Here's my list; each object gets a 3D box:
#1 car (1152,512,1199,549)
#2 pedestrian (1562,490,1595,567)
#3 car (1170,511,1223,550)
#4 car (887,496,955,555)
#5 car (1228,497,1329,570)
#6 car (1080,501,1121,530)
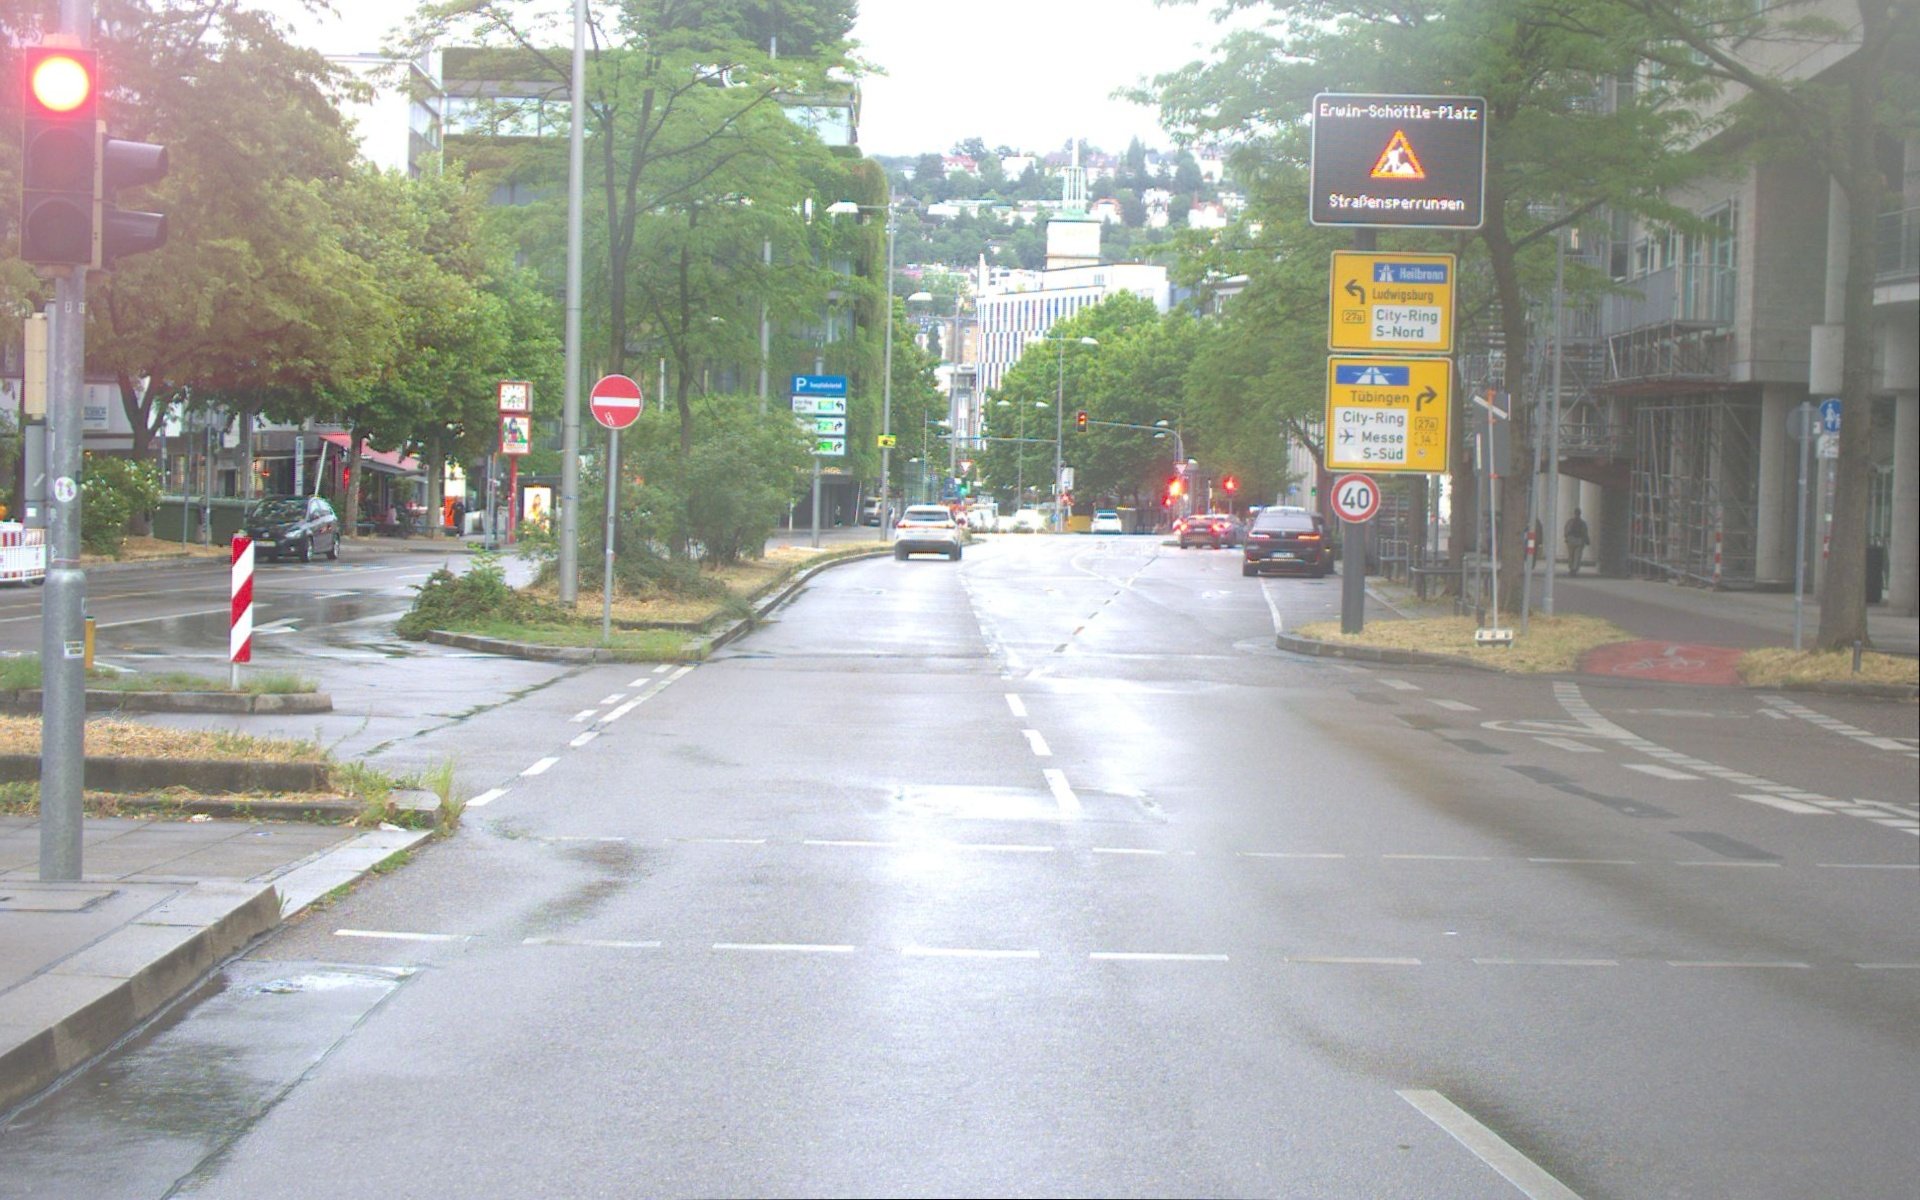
[{"bbox_3d":[10.448,-3.357,166.799,1.993,1.730,4.000,1,0,-1],"label":"car"},{"bbox_3d":[15.378,-1.774,85.490,0.775,1.914,0.702,1,0,10],"label":"pedestrian"},{"bbox_3d":[10.706,-3.137,155.715,1.993,1.718,4.000,1,0,-1],"label":"car"},{"bbox_3d":[-1.177,-2.184,101.597,1.828,1.634,4.301,2,1,-2],"label":"car"},{"bbox_3d":[7.756,-1.625,83.423,2.339,1.685,3.999,1,2,6],"label":"car"},{"bbox_3d":[8.913,-5.347,218.371,1.993,1.752,4.001,2,1,-6],"label":"car"}]
